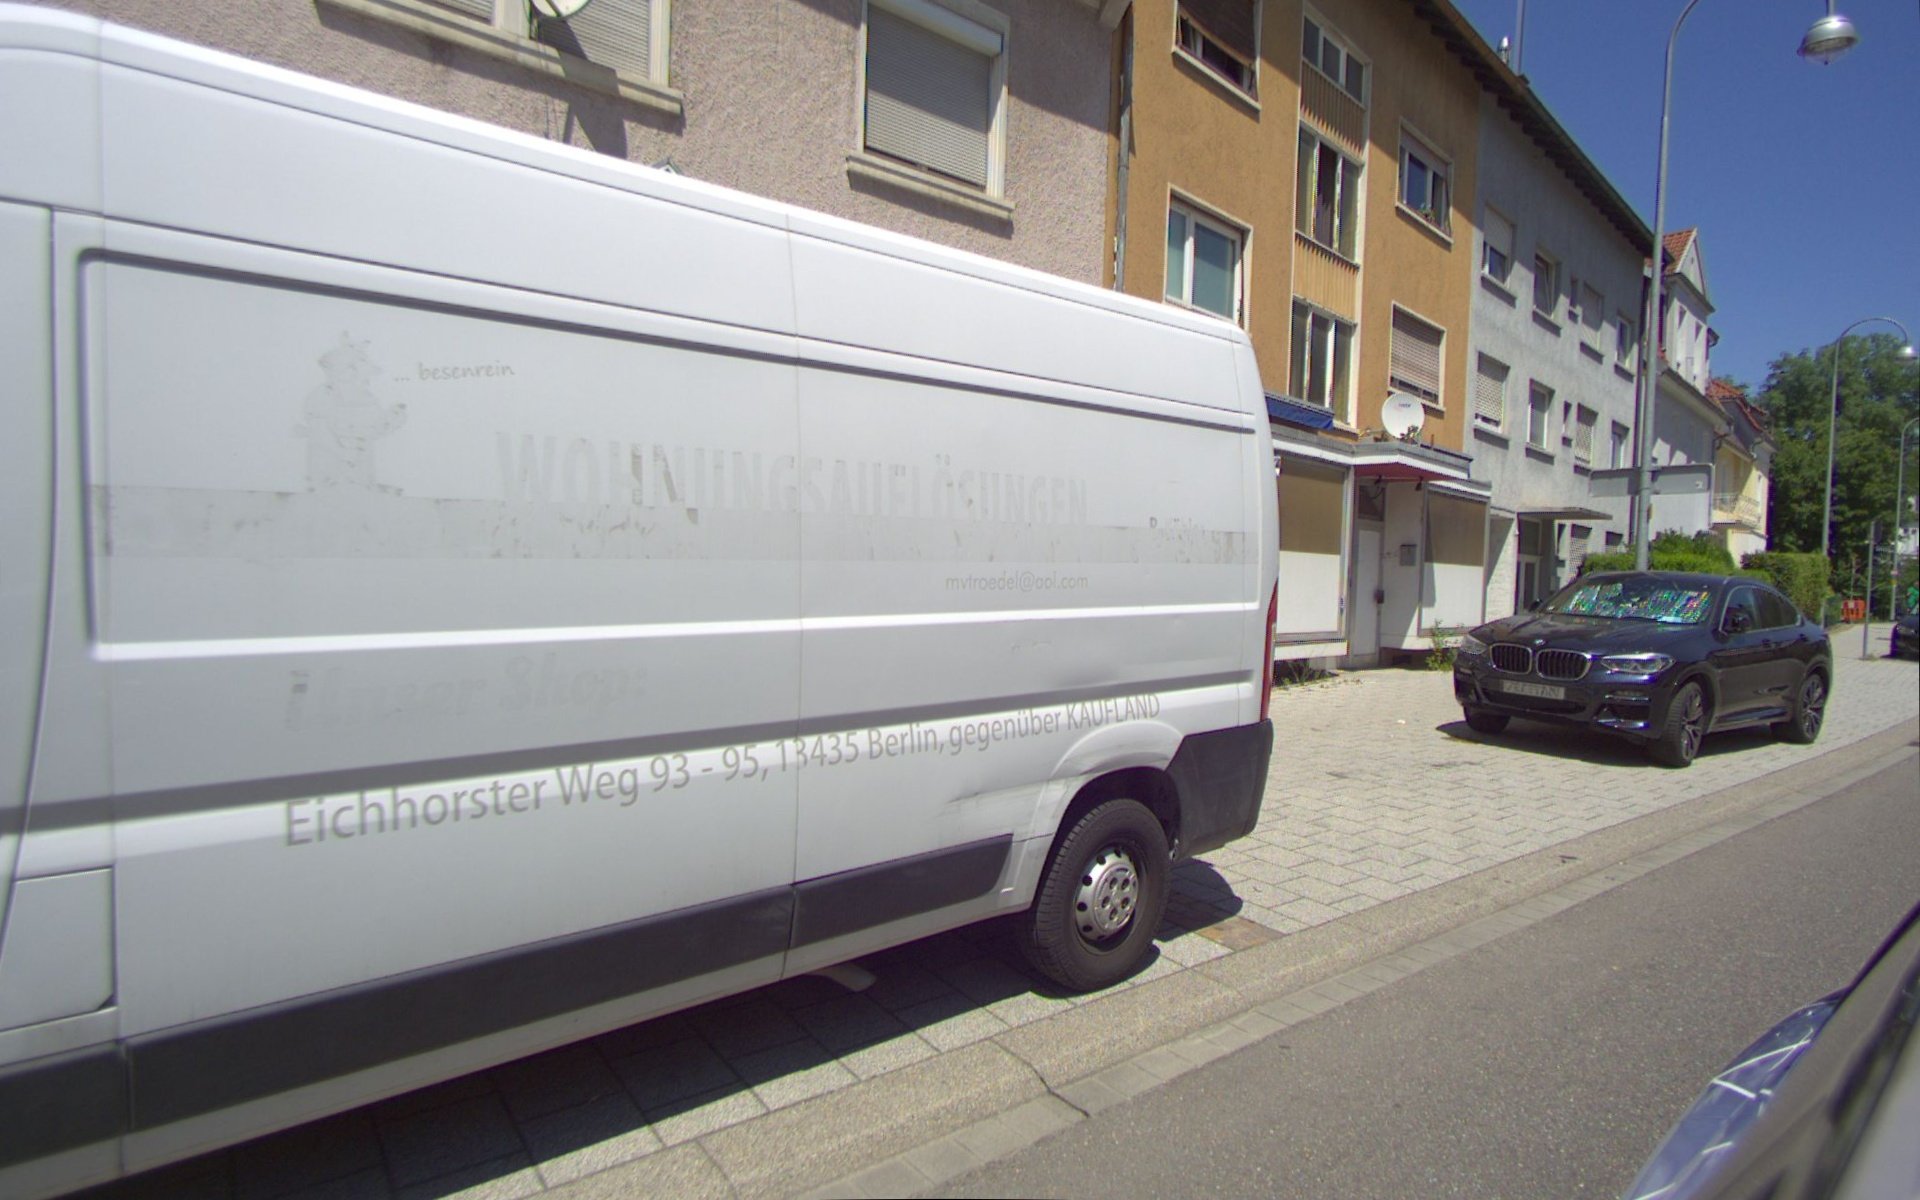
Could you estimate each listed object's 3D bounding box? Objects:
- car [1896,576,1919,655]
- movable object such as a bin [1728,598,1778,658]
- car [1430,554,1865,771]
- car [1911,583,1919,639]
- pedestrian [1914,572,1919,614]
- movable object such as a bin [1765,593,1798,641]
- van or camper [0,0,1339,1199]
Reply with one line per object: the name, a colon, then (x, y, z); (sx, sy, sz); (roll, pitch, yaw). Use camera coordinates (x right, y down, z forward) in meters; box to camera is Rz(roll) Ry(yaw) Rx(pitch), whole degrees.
car: (22.463, 0.407, 22.476); (3.926, 1.652, 1.734); (1, 4, -38)
movable object such as a bin: (15.240, 0.529, 19.449); (0.636, 1.090, 0.594); (0, 3, -42)
car: (6.749, 0.457, 9.830); (4.279, 1.626, 1.904); (0, 4, -33)
car: (28.084, 0.375, 28.244); (4.640, 1.492, 1.807); (0, 6, -42)
pedestrian: (40.103, -0.266, 41.884); (0.517, 1.726, 0.796); (6, 4, 28)
movable object such as a bin: (19.677, 0.402, 24.245); (0.546, 1.117, 0.488); (0, 2, -41)
van or camper: (-1.384, -0.044, 3.085); (5.664, 2.620, 2.170); (0, 3, -40)
